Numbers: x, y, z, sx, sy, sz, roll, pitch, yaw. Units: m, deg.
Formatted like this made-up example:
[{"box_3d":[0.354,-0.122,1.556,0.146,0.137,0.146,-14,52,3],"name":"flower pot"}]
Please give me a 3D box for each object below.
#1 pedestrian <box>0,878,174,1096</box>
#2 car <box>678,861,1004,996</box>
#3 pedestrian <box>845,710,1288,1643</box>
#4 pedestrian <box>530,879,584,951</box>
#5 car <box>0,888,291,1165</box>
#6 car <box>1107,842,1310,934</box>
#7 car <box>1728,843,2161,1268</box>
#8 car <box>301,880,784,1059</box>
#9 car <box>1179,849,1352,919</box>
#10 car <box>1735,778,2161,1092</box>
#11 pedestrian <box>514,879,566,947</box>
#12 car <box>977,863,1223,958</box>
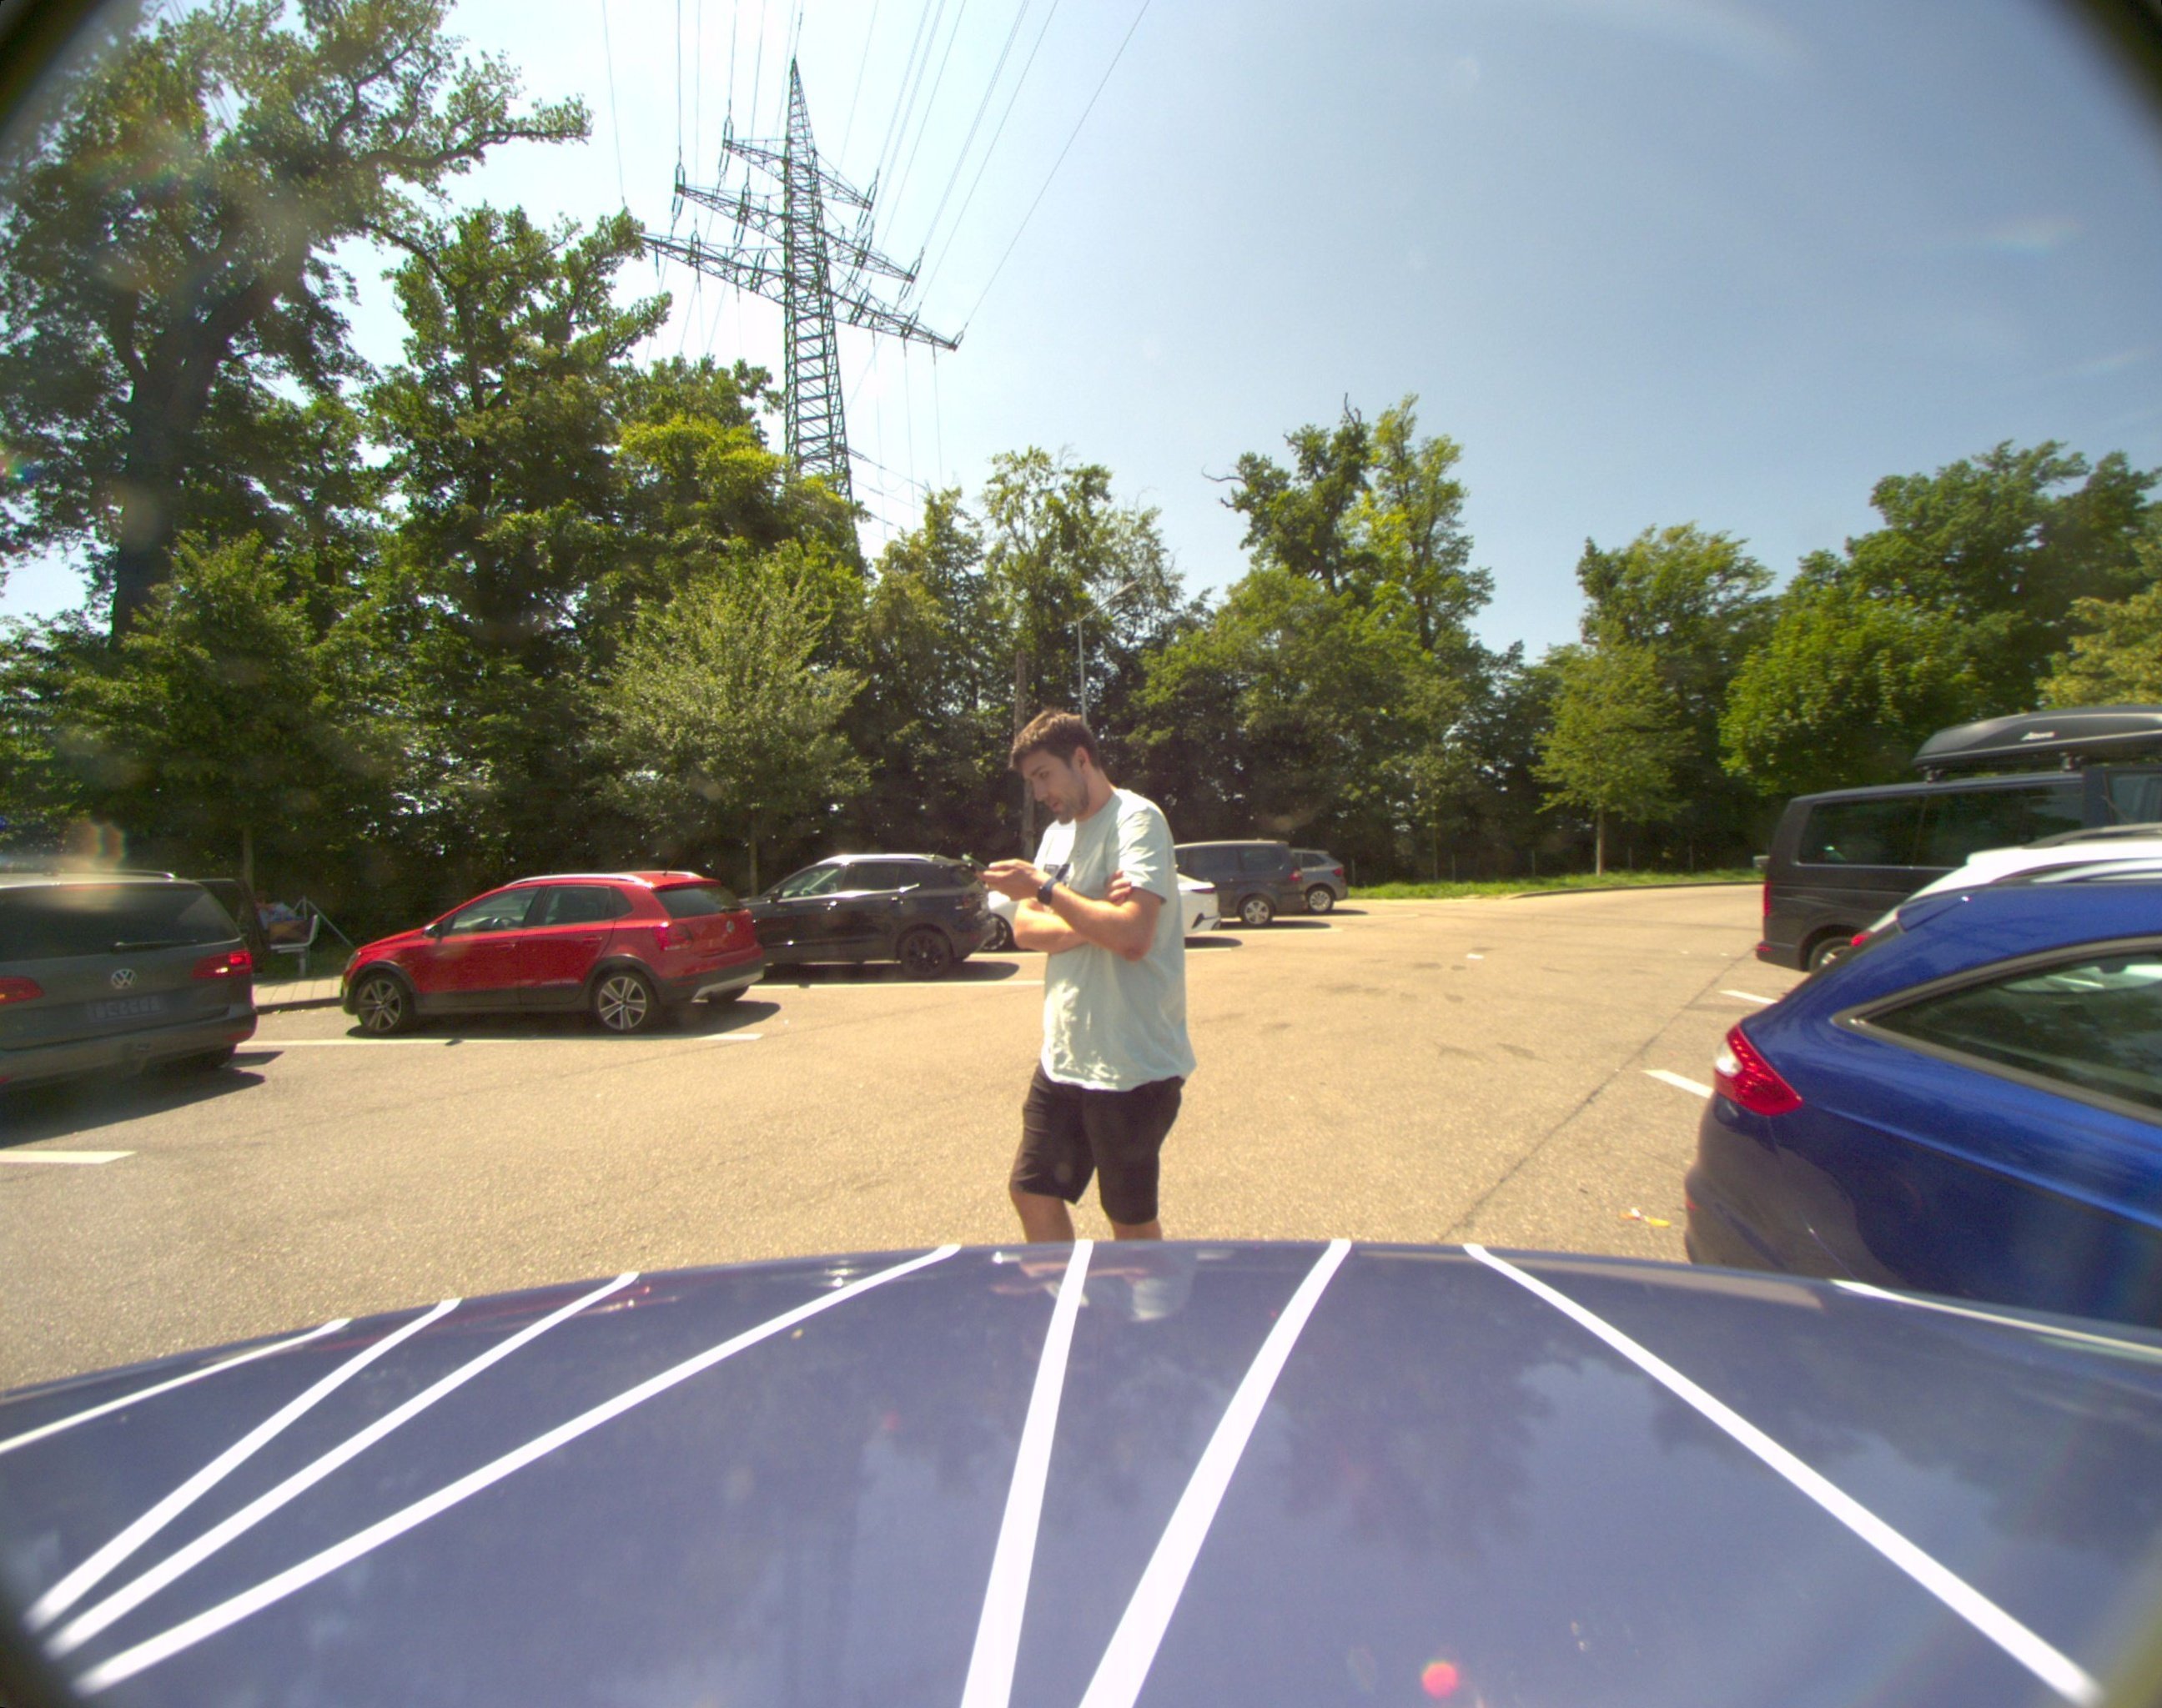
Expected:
[{"box_3d":[-8.556,1.066,6.534,0.735,1.672,0.917,-3,1,-39],"name":"pedestrian"},{"box_3d":[-3.066,0.941,10.263,3.787,1.564,1.721,-1,1,2],"name":"car"},{"box_3d":[0.019,0.647,1.899,0.889,1.831,0.622,-2,1,16],"name":"pedestrian"},{"box_3d":[-10.011,1.143,14.513,0.782,1.287,0.670,-1,2,45],"name":"pedestrian"},{"box_3d":[-8.291,1.110,5.442,3.985,1.572,1.749,-1,1,12],"name":"car"},{"box_3d":[2.587,0.672,15.454,3.818,1.714,1.722,-1,1,12],"name":"car"},{"box_3d":[4.874,0.728,2.286,1.741,1.524,4.642,-3,-1,-2],"name":"car"},{"box_3d":[-5.239,1.070,7.652,3.785,1.457,1.722,-1,1,9],"name":"car"},{"box_3d":[4.339,0.695,18.157,3.818,1.530,1.722,-1,1,12],"name":"car"},{"box_3d":[7.321,0.440,4.915,1.961,1.858,4.642,-3,-1,-3],"name":"car"},{"box_3d":[-10.902,1.169,15.311,0.782,1.287,0.670,-1,2,45],"name":"pedestrian"},{"box_3d":[0.364,0.904,12.728,3.819,1.377,1.722,-1,1,6],"name":"car"}]
